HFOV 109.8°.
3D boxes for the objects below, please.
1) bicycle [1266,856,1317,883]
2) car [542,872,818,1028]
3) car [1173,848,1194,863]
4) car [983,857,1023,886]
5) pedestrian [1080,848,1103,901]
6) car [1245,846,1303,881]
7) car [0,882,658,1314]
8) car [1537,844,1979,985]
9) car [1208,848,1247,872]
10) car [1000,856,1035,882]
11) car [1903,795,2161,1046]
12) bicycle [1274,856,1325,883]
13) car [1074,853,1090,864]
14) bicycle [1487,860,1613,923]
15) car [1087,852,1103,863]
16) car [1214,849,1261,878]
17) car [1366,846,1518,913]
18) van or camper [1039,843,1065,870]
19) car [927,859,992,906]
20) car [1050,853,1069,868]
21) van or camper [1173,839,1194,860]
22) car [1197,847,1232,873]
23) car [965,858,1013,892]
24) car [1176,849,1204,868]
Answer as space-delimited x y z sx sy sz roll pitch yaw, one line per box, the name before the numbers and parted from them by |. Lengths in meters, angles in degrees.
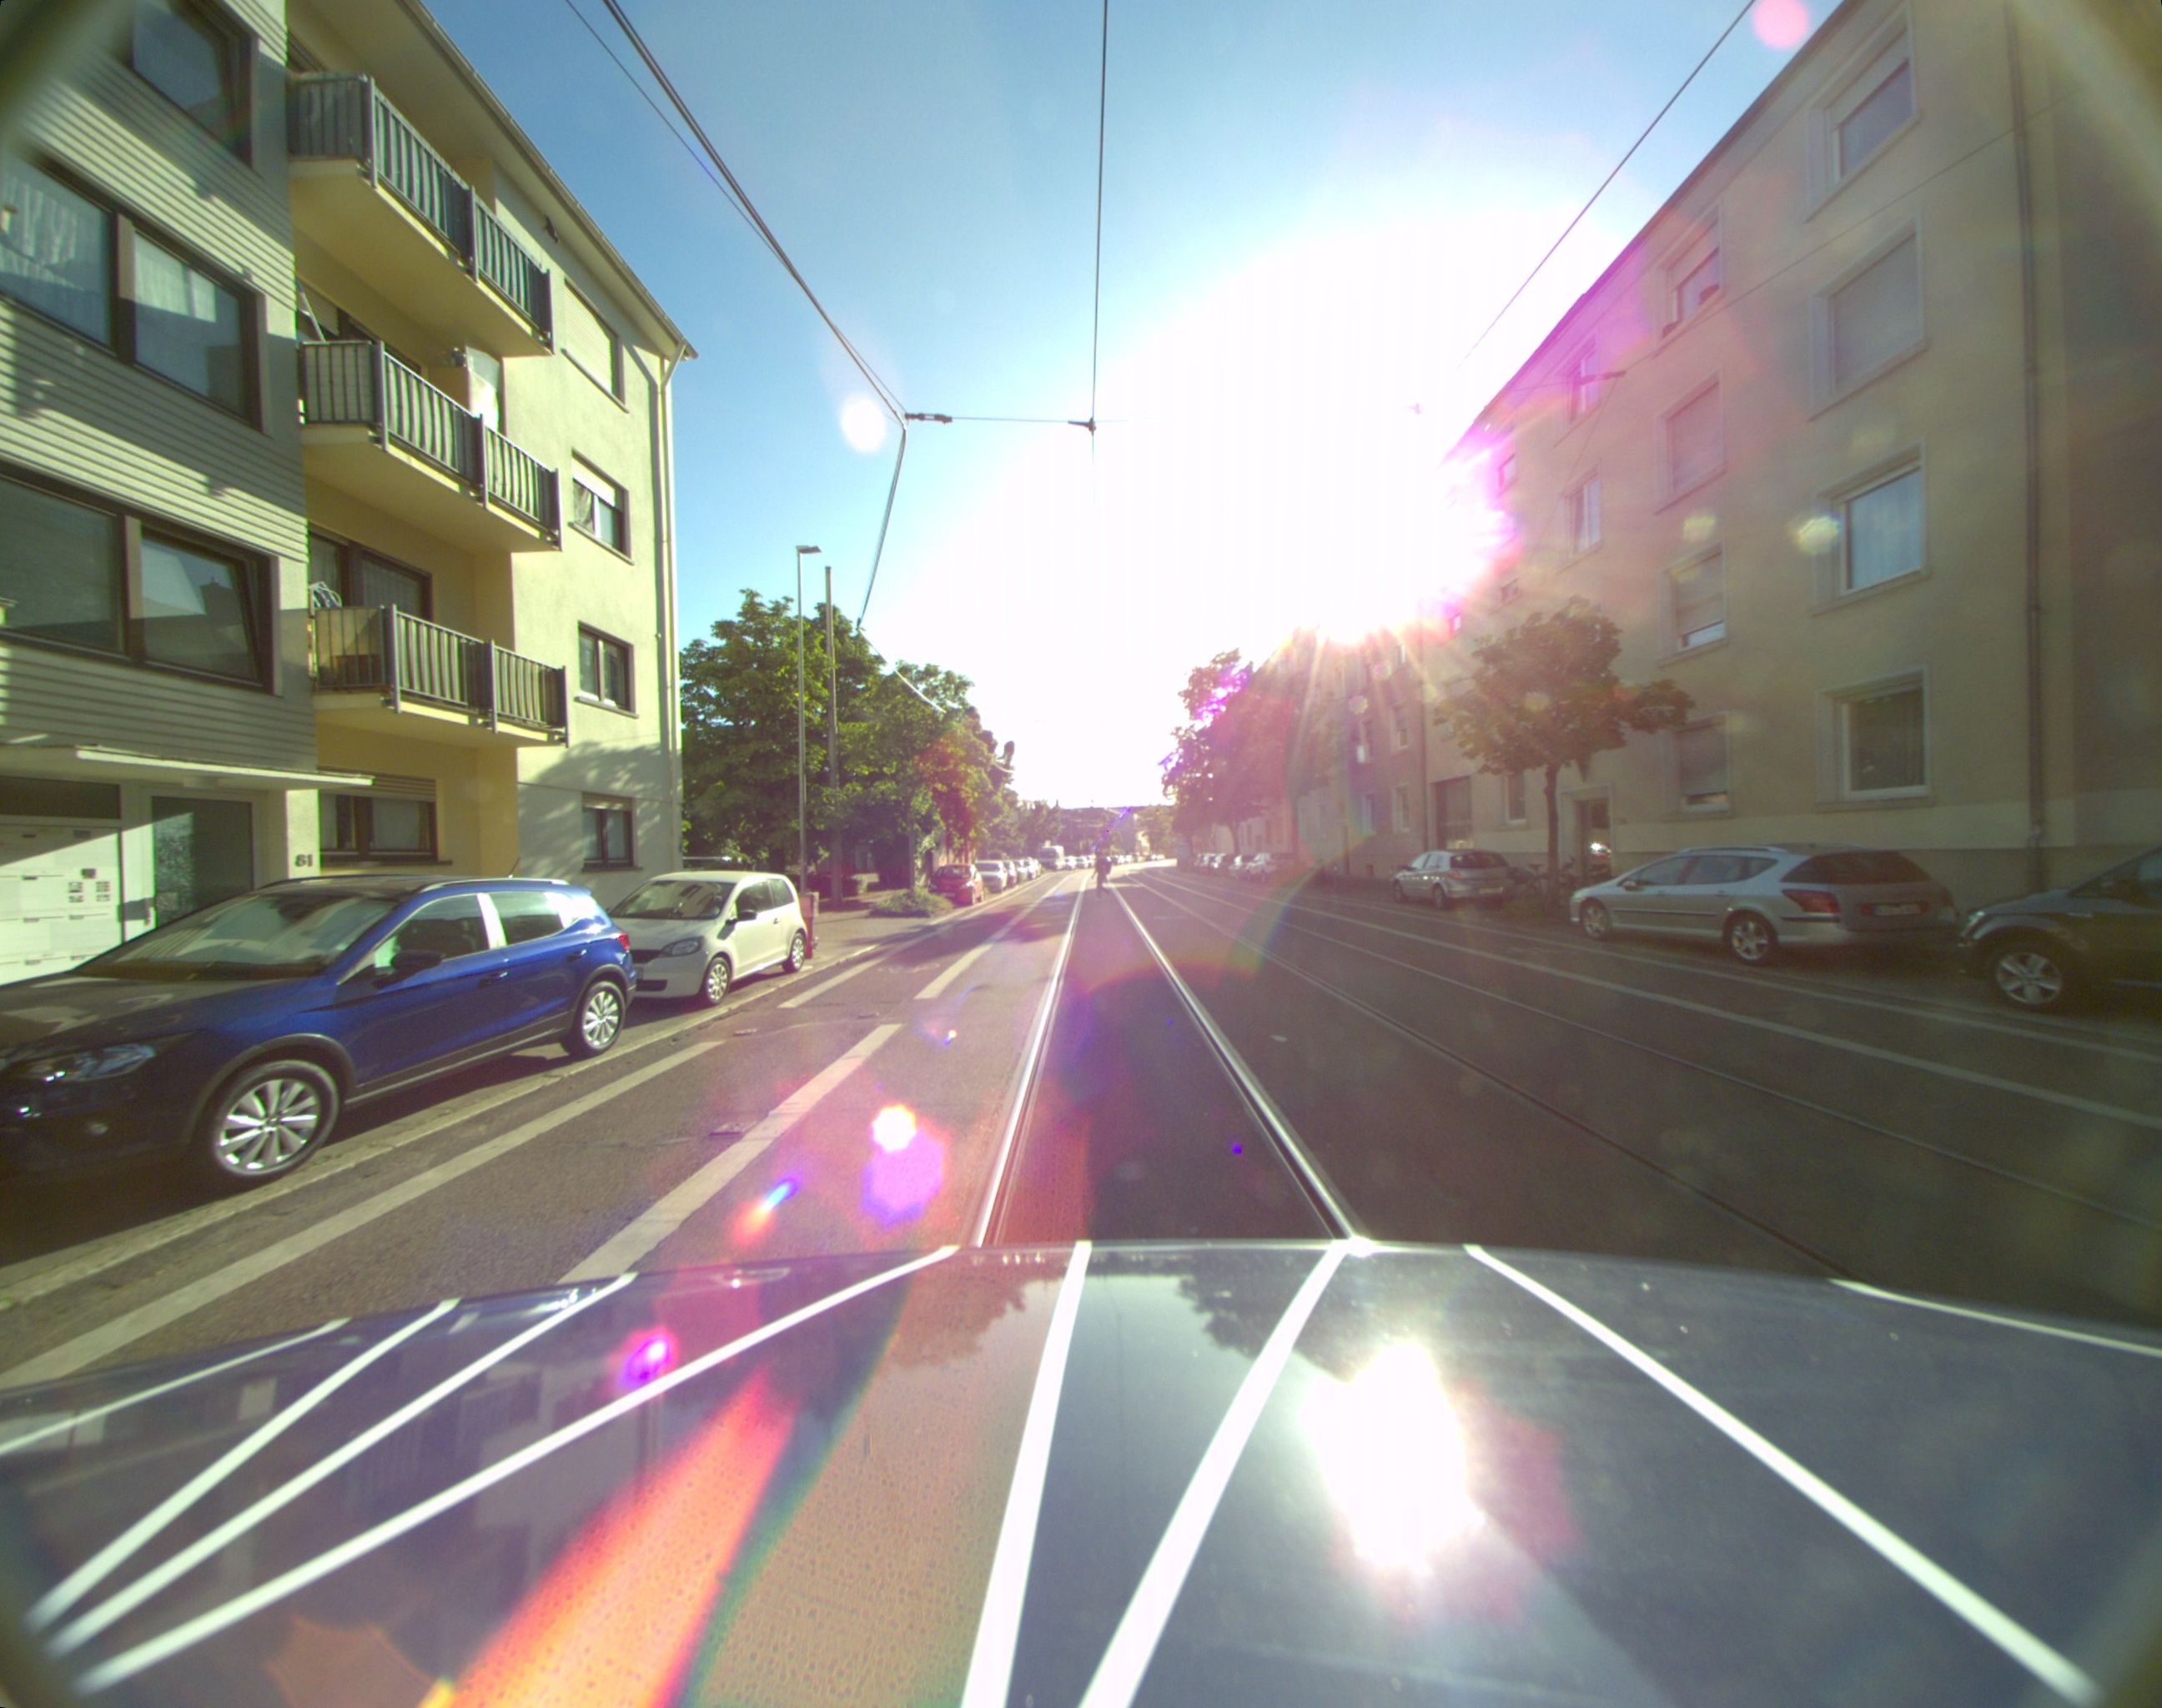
bicycle | 9.708 0.713 35.076 2.149 1.136 0.535 -2 1 -3
car | -4.865 1.061 9.832 1.557 1.533 3.632 0 0 1
car | 10.802 0.163 80.240 1.666 1.535 3.410 -2 0 0
car | -4.418 0.955 43.522 1.828 1.562 4.478 0 0 0
pedestrian | 0.372 0.700 26.334 0.801 1.800 0.946 0 1 1
car | 9.638 0.466 38.214 1.688 1.614 4.047 -2 0 -2
car | -4.918 1.067 5.179 1.612 1.562 4.219 0 0 1
car | 8.818 0.647 10.674 1.770 1.464 4.857 -2 0 -1
car | 9.899 0.398 51.759 1.688 1.542 4.047 -2 0 -2
car | -4.045 0.937 49.027 1.828 1.562 4.478 0 0 0
car | 8.914 0.456 5.131 1.770 1.835 4.423 -4 0 -1
bicycle | 9.832 0.697 34.214 2.149 1.136 0.530 -2 1 -3
car | 0.120 0.531 93.548 1.726 1.403 3.888 0 0 3
bicycle | 9.487 0.744 15.403 2.149 1.136 0.659 -3 1 -3
car | 1.994 0.462 105.721 1.828 1.562 4.267 0 0 5
car | 9.011 0.536 43.947 1.688 1.542 4.047 -2 0 -2
car | 9.155 0.566 19.762 1.769 1.464 4.752 -2 1 2
van or camper | -3.005 0.209 79.198 2.090 2.548 5.693 -2 1 3
car | -4.476 1.017 28.527 1.612 1.562 4.478 0 0 1
car | -2.443 0.734 86.267 1.828 1.562 4.266 0 0 3
van or camper | 12.645 -0.529 94.053 2.074 2.400 5.500 -2 0 3
car | 9.802 0.444 56.176 1.688 1.776 4.047 -2 0 -2
car | -4.545 0.993 38.146 1.828 1.562 4.478 0 0 0
car | 9.355 0.380 65.513 1.688 1.542 3.950 -2 0 -2
